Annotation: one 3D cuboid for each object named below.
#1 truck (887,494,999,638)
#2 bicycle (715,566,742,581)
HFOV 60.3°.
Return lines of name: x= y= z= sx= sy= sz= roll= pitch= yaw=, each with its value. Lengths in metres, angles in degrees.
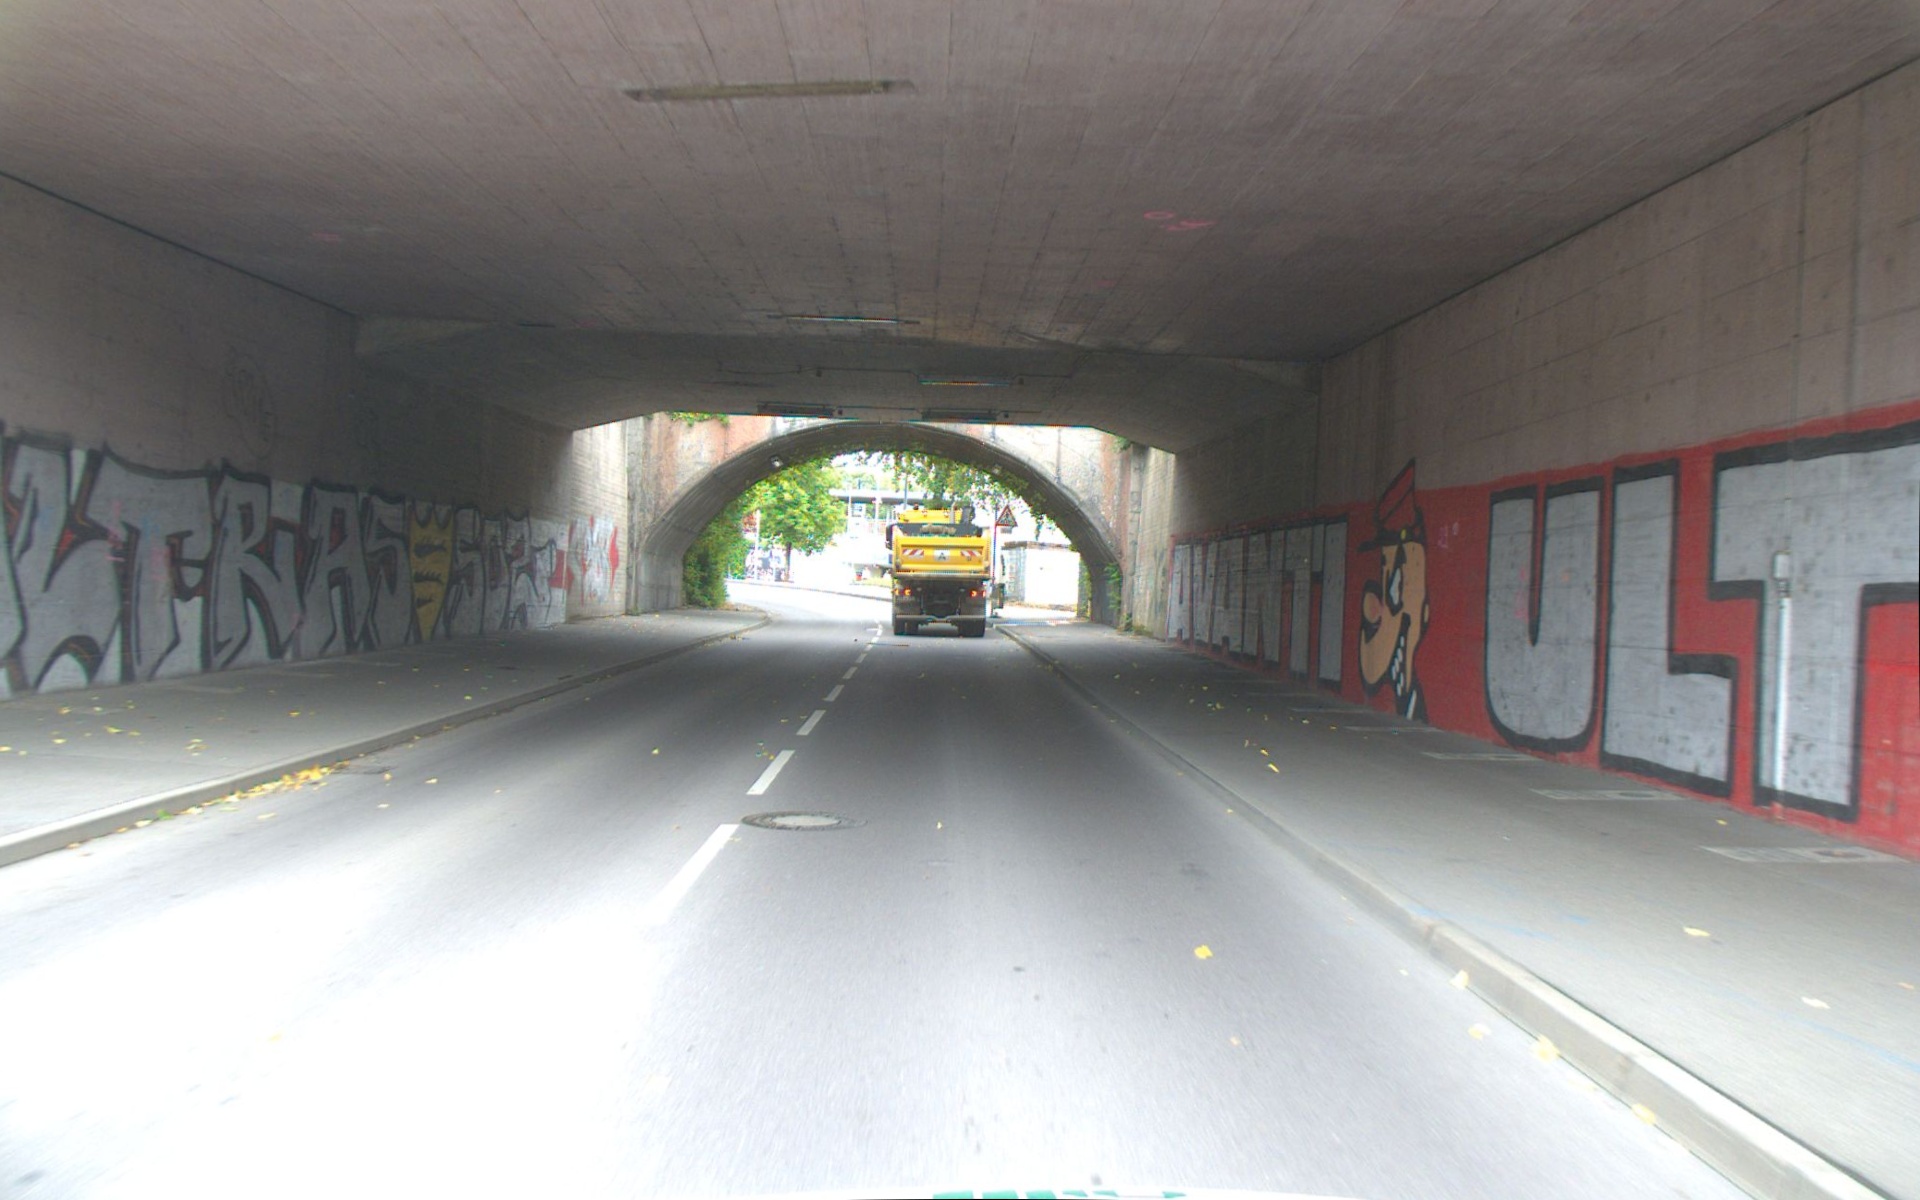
truck: x=-0.576 y=-1.019 z=46.333 sx=2.709 sy=3.543 sz=8.127 roll=3 pitch=2 yaw=-2
bicycle: x=-17.024 y=-1.957 z=121.646 sx=1.954 sy=0.880 sz=0.503 roll=8 pitch=-2 yaw=-41
